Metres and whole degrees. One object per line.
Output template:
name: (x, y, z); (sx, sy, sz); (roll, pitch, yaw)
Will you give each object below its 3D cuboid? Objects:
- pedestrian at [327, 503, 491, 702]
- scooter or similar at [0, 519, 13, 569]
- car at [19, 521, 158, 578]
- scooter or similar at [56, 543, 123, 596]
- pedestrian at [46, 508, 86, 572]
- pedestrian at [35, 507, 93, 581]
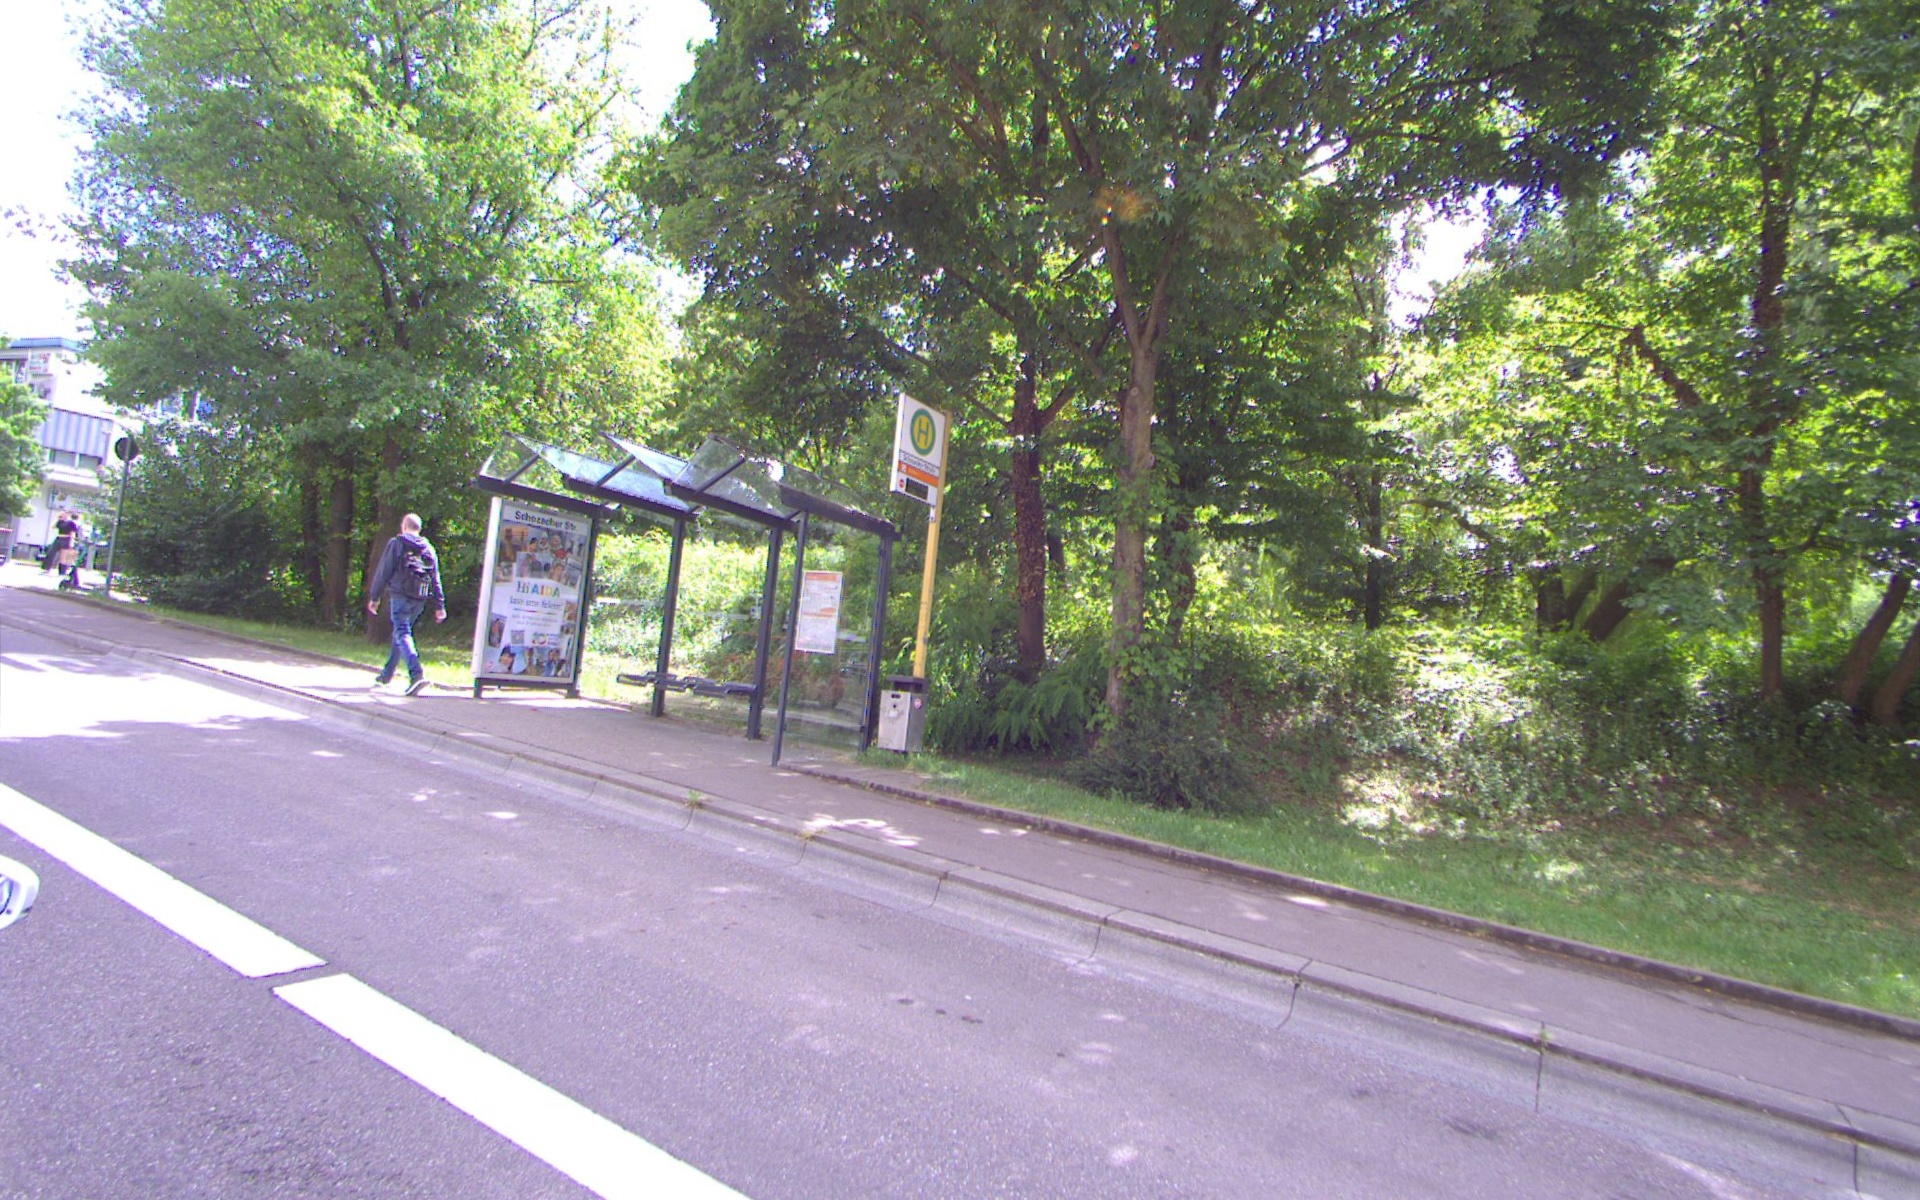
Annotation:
pedestrian: (-5.840, 0.022, 10.674); (1.250, 1.916, 0.803); (6, -2, 33)
scooter or similar: (-25.024, -1.484, 25.679); (0.326, 1.273, 1.111); (7, -1, 20)
car: (-33.550, -1.912, 38.841); (1.679, 1.619, 3.592); (6, -2, 20)
scooter or similar: (-20.370, -0.707, 23.563); (0.325, 1.112, 1.153); (7, -2, 9)
pedestrian: (-26.889, -1.808, 30.266); (0.611, 1.808, 0.562); (12, -5, -40)
pedestrian: (-24.115, -1.498, 27.096); (0.753, 1.808, 0.566); (11, -4, -25)
